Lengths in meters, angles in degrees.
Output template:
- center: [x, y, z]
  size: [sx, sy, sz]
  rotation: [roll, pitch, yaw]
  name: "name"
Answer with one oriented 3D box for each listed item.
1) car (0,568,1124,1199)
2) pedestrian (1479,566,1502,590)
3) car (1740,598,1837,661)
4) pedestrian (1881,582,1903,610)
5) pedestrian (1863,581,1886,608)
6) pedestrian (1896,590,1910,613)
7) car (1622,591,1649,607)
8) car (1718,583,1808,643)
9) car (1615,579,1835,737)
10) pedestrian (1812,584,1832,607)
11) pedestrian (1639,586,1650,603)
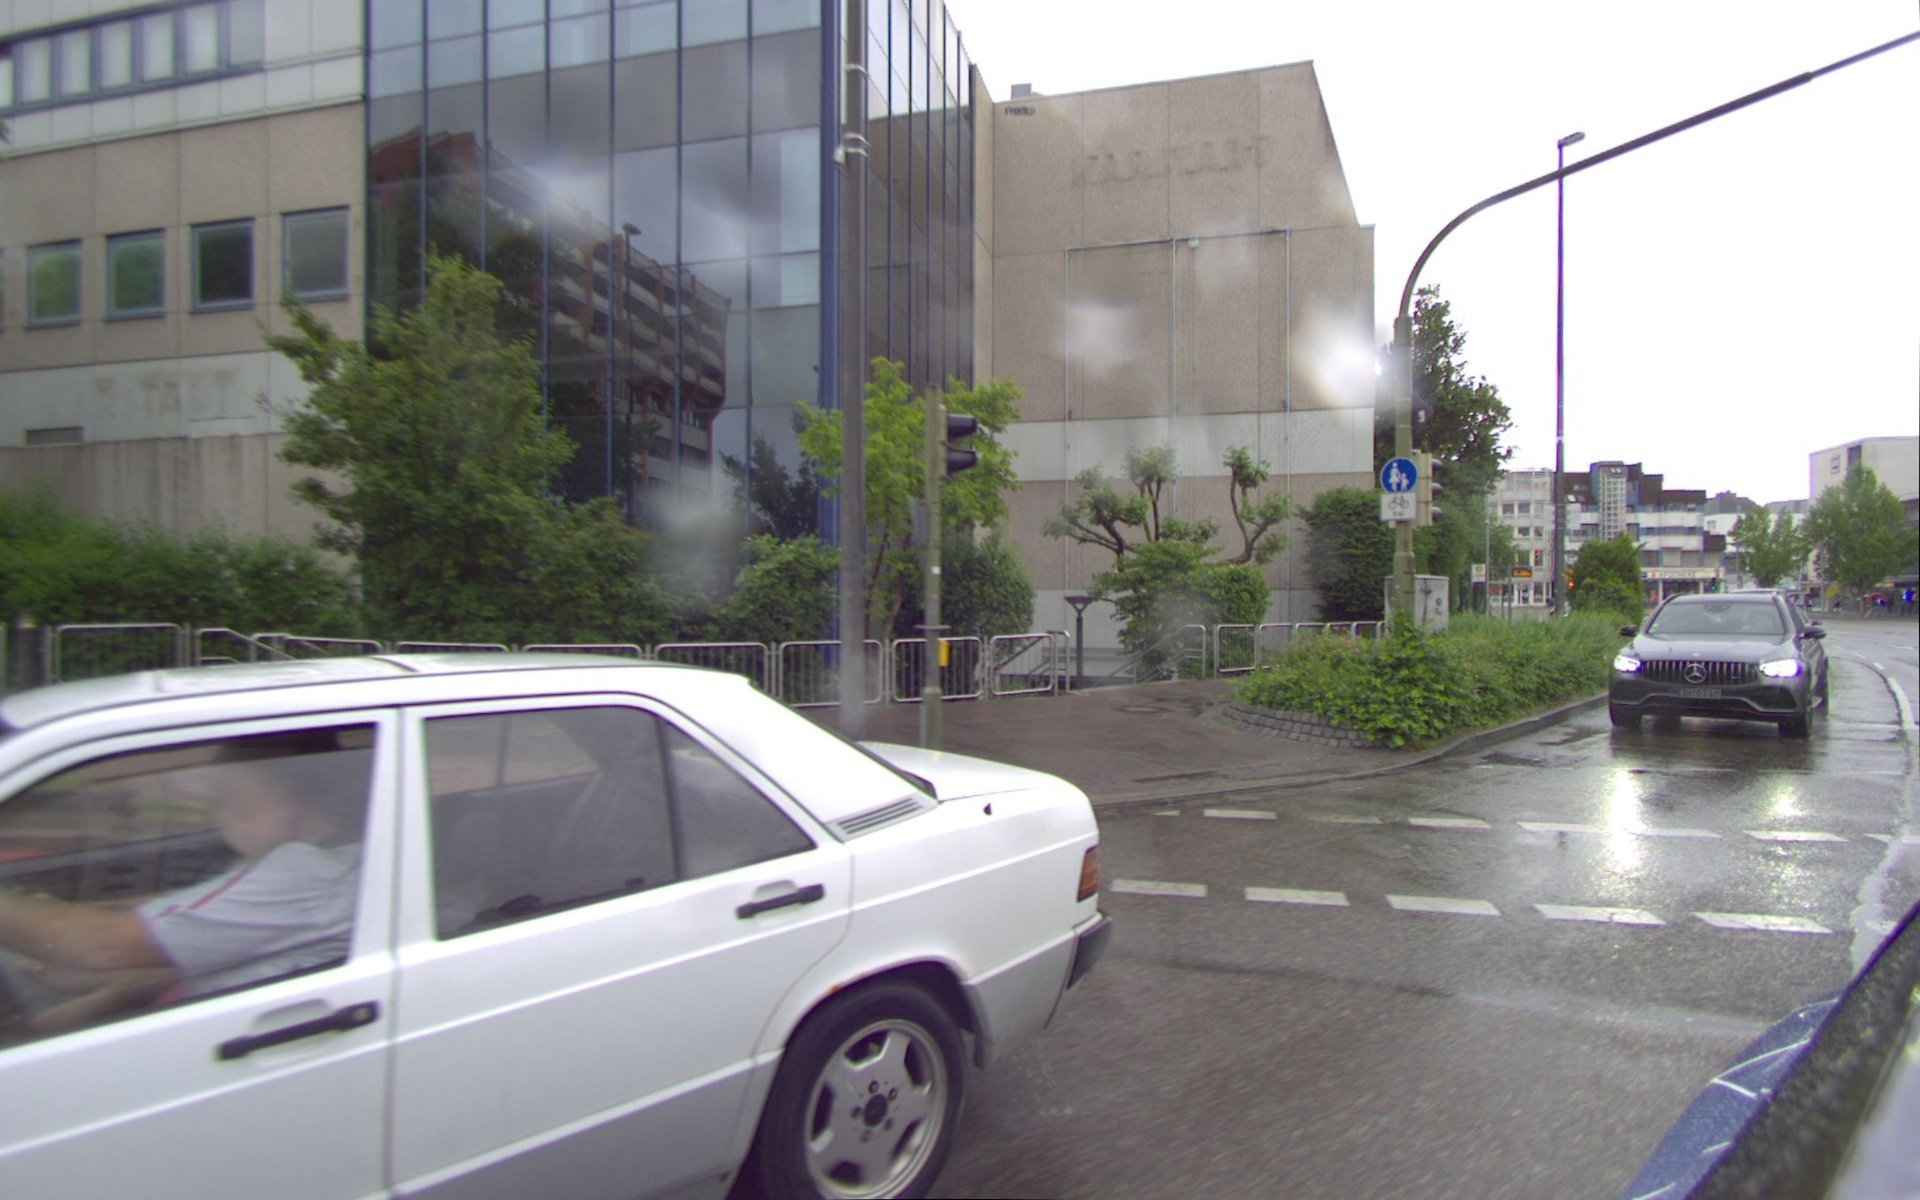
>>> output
- center: [-1.672, 0.685, 2.155]
  size: [4.192, 1.466, 1.637]
  rotation: [-1, 0, -39]
  name: "car"
- center: [29.725, -1.252, 56.741]
  size: [1.019, 1.297, 0.688]
  rotation: [2, 0, 18]
  name: "pedestrian"
- center: [20.926, 0.686, 25.500]
  size: [1.631, 1.404, 4.445]
  rotation: [-1, -1, 42]
  name: "car"
- center: [69.867, -0.287, 75.873]
  size: [0.894, 2.039, 0.972]
  rotation: [-1, -1, 18]
  name: "pedestrian"
- center: [68.609, -0.401, 75.935]
  size: [0.894, 2.039, 0.972]
  rotation: [-1, -1, 18]
  name: "pedestrian"
- center: [71.395, 0.124, 76.644]
  size: [0.543, 1.773, 0.676]
  rotation: [-1, -1, 21]
  name: "pedestrian"
- center: [65.000, -0.137, 97.356]
  size: [1.838, 1.479, 4.743]
  rotation: [-1, 0, 38]
  name: "car"
- center: [27.785, 0.400, 35.164]
  size: [1.988, 1.918, 4.533]
  rotation: [-1, 0, 33]
  name: "car"
- center: [9.682, 0.600, 12.797]
  size: [1.898, 1.641, 4.274]
  rotation: [-1, 0, 39]
  name: "car"
- center: [72.057, -0.357, 84.593]
  size: [0.894, 1.939, 0.972]
  rotation: [-1, -1, 18]
  name: "pedestrian"
- center: [74.703, -0.600, 110.483]
  size: [0.830, 1.765, 0.580]
  rotation: [-2, -1, 25]
  name: "pedestrian"
